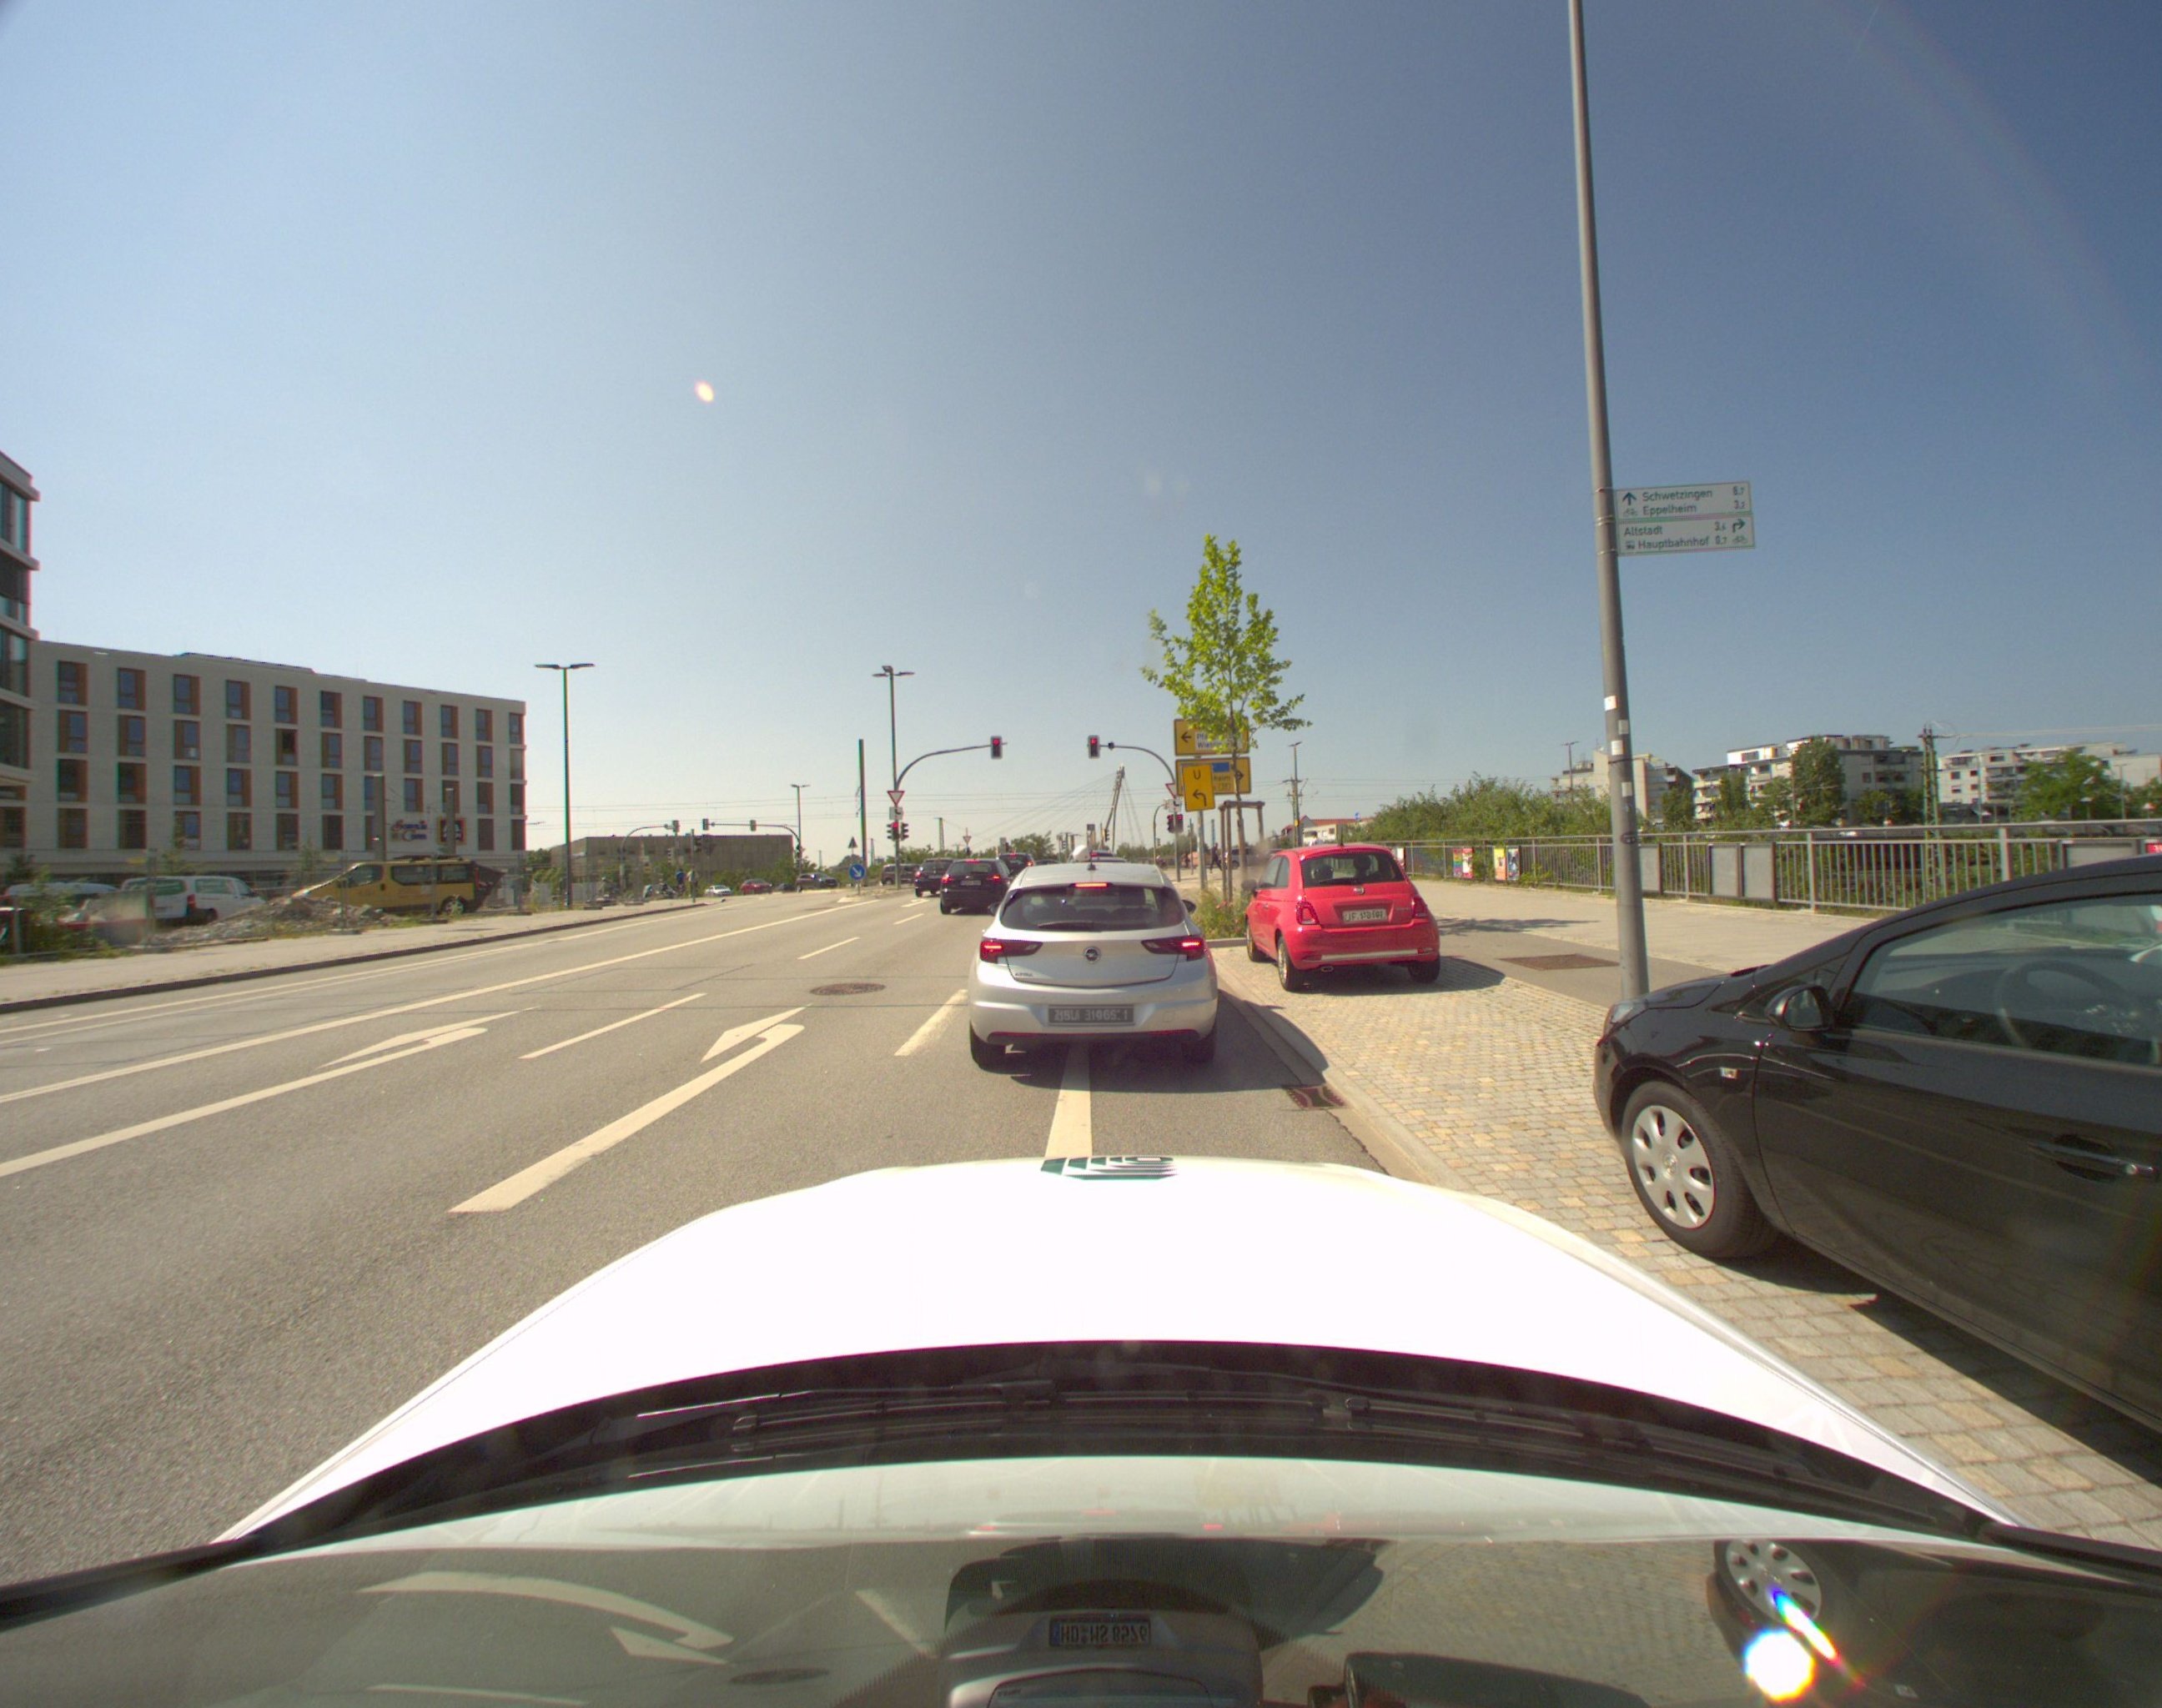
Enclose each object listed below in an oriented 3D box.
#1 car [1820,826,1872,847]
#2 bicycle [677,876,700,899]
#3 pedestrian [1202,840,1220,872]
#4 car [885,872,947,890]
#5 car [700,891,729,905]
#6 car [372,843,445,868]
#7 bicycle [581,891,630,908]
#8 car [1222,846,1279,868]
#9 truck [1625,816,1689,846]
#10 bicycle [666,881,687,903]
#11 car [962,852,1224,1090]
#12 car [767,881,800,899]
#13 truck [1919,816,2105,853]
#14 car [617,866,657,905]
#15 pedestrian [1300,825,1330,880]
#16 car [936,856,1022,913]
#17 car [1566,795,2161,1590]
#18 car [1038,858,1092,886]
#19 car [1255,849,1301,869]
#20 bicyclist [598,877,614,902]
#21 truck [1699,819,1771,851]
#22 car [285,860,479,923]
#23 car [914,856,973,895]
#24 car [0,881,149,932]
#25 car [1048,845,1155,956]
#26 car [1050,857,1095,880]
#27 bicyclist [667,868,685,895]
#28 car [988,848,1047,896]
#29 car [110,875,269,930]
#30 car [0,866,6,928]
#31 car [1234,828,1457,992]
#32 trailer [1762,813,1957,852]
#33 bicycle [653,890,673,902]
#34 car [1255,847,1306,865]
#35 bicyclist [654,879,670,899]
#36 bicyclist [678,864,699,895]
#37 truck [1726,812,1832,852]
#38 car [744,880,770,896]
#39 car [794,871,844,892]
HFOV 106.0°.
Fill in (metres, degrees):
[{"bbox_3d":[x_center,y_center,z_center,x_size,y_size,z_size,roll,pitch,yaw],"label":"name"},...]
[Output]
[{"bbox_3d":[77.710,-1.777,82.728,3.993,2.014,1.990,0,-1,-14],"label":"car"},{"bbox_3d":[-20.275,1.738,42.080,0.676,1.127,2.352,0,-1,-16],"label":"bicycle"},{"bbox_3d":[7.551,0.119,47.329,0.745,1.863,0.746,1,-1,-32],"label":"pedestrian"},{"bbox_3d":[-13.370,2.170,65.989,4.435,1.455,2.009,0,-1,18],"label":"car"},{"bbox_3d":[-38.684,4.661,85.852,1.781,1.333,3.670,1,-1,-42],"label":"car"},{"bbox_3d":[-54.355,0.141,65.897,3.990,2.014,1.991,0,-1,-12],"label":"car"},{"bbox_3d":[-29.402,2.805,50.386,2.511,1.007,0.601,0,-4,-18],"label":"bicycle"},{"bbox_3d":[12.591,0.225,60.600,3.812,1.629,1.852,0,-1,-8],"label":"car"},{"bbox_3d":[50.810,-2.025,71.808,4.698,2.541,1.991,0,-1,-13],"label":"truck"},{"bbox_3d":[-23.402,2.174,47.125,0.731,1.134,2.506,-7,2,-32],"label":"bicycle"},{"bbox_3d":[0.125,0.775,7.433,1.685,1.520,4.271,-1,0,1],"label":"car"},{"bbox_3d":[-34.637,4.149,94.772,3.949,2.014,2.012,-2,-1,43],"label":"car"},{"bbox_3d":[87.300,-1.756,76.327,17.857,3.204,3.723,0,-1,-14],"label":"truck"},{"bbox_3d":[-24.186,1.651,44.331,1.681,2.014,3.959,1,-1,-32],"label":"car"},{"bbox_3d":[7.792,-0.045,27.167,0.755,1.830,0.885,0,-1,1],"label":"pedestrian"},{"bbox_3d":[-2.678,0.779,22.250,1.699,1.412,4.001,0,-1,2],"label":"car"},{"bbox_3d":[2.892,0.638,1.732,1.576,1.555,3.548,-4,0,1],"label":"car"},{"bbox_3d":[-1.215,1.384,63.214,3.970,2.014,2.002,-1,-1,3],"label":"car"},{"bbox_3d":[19.576,0.511,80.968,3.997,2.014,1.988,0,-1,-18],"label":"car"},{"bbox_3d":[-29.442,2.199,50.445,0.658,1.502,0.838,0,-1,-18],"label":"bicyclist"},{"bbox_3d":[62.861,-1.794,78.316,5.857,2.884,2.110,0,-1,-12],"label":"truck"},{"bbox_3d":[-22.623,1.149,26.526,1.974,1.890,4.514,-1,-1,40],"label":"car"},{"bbox_3d":[-5.213,0.809,31.192,1.581,1.395,3.340,-1,-1,1],"label":"car"},{"bbox_3d":[-33.690,1.684,27.304,1.809,1.508,3.965,0,-1,-27],"label":"car"},{"bbox_3d":[0.353,0.735,14.229,1.629,1.674,3.745,0,-1,1],"label":"car"},{"bbox_3d":[-0.779,1.355,76.849,3.970,2.014,2.002,-2,-1,3],"label":"car"},{"bbox_3d":[-23.380,1.578,47.004,0.866,1.560,0.816,1,-1,-32],"label":"bicyclist"},{"bbox_3d":[-2.423,0.699,31.858,1.797,1.622,3.917,-4,-1,1],"label":"car"},{"bbox_3d":[-31.070,1.625,28.605,2.003,1.707,4.526,0,-1,-23],"label":"car"},{"bbox_3d":[-36.205,1.401,25.053,2.220,2.056,4.133,0,-1,-28],"label":"car"},{"bbox_3d":[3.001,0.556,10.076,1.662,1.540,3.921,-3,0,4],"label":"car"},{"bbox_3d":[68.080,-1.782,71.210,17.225,3.204,3.723,0,-1,-14],"label":"trailer"},{"bbox_3d":[-25.743,2.571,50.126,0.519,0.692,2.226,0,-1,-43],"label":"bicycle"},{"bbox_3d":[18.949,0.163,77.341,4.254,1.673,1.989,-1,-1,-16],"label":"car"},{"bbox_3d":[-25.754,2.178,50.048,0.735,1.175,0.651,-2,-2,-43],"label":"bicyclist"},{"bbox_3d":[-20.250,1.317,41.985,0.822,1.569,0.943,0,-1,-17],"label":"bicyclist"},{"bbox_3d":[59.052,-1.786,68.951,6.478,3.204,3.721,0,-1,-14],"label":"truck"},{"bbox_3d":[-31.046,3.241,77.992,1.690,1.455,3.959,1,-1,-32],"label":"car"},{"bbox_3d":[-22.792,2.380,70.780,4.159,1.741,1.728,-1,-1,27],"label":"car"}]
